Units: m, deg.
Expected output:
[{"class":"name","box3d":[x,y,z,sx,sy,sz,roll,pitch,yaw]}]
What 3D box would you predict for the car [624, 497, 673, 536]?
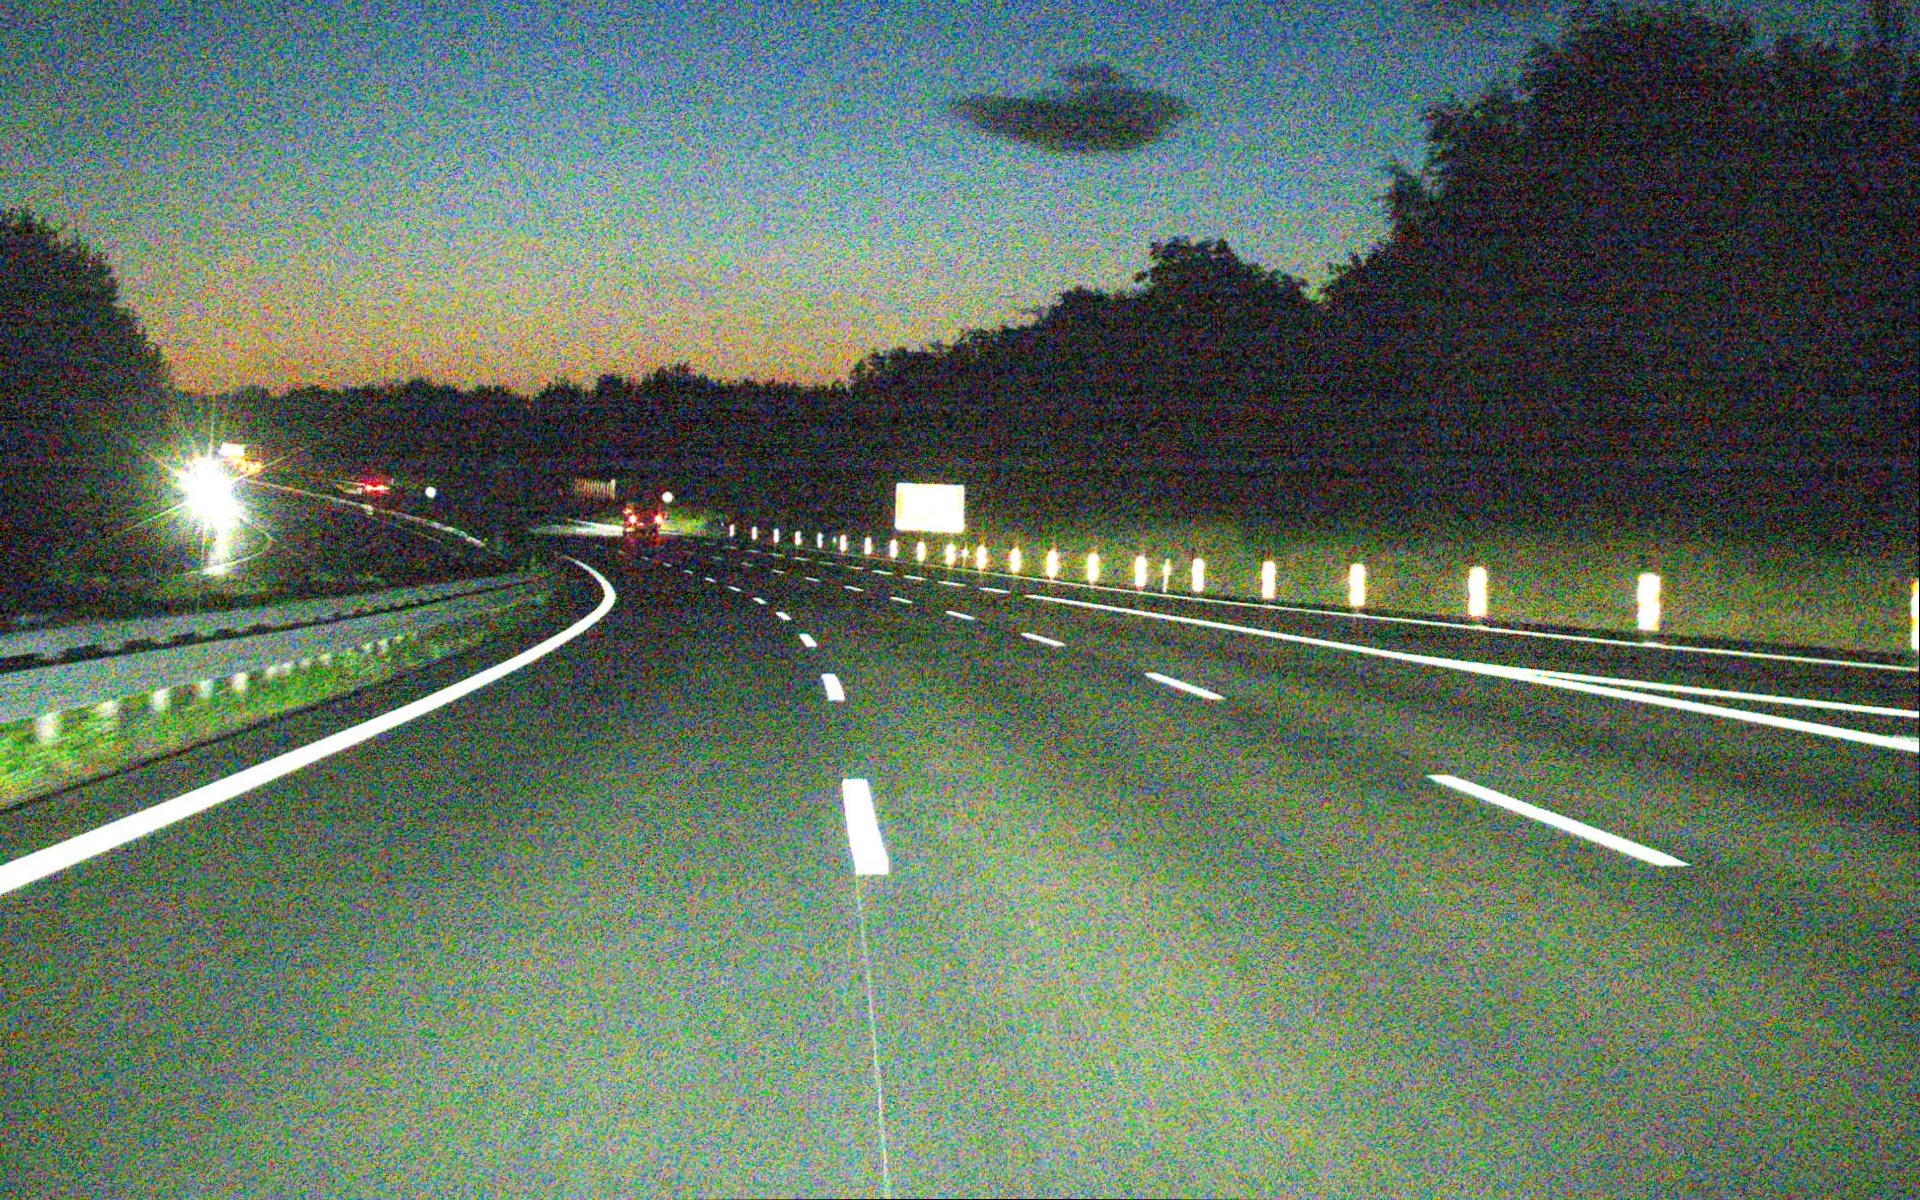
[{"class":"car","box3d":[-22.061,-5.919,243.539,2.527,2.544,6.053,2,2,-13]}]
